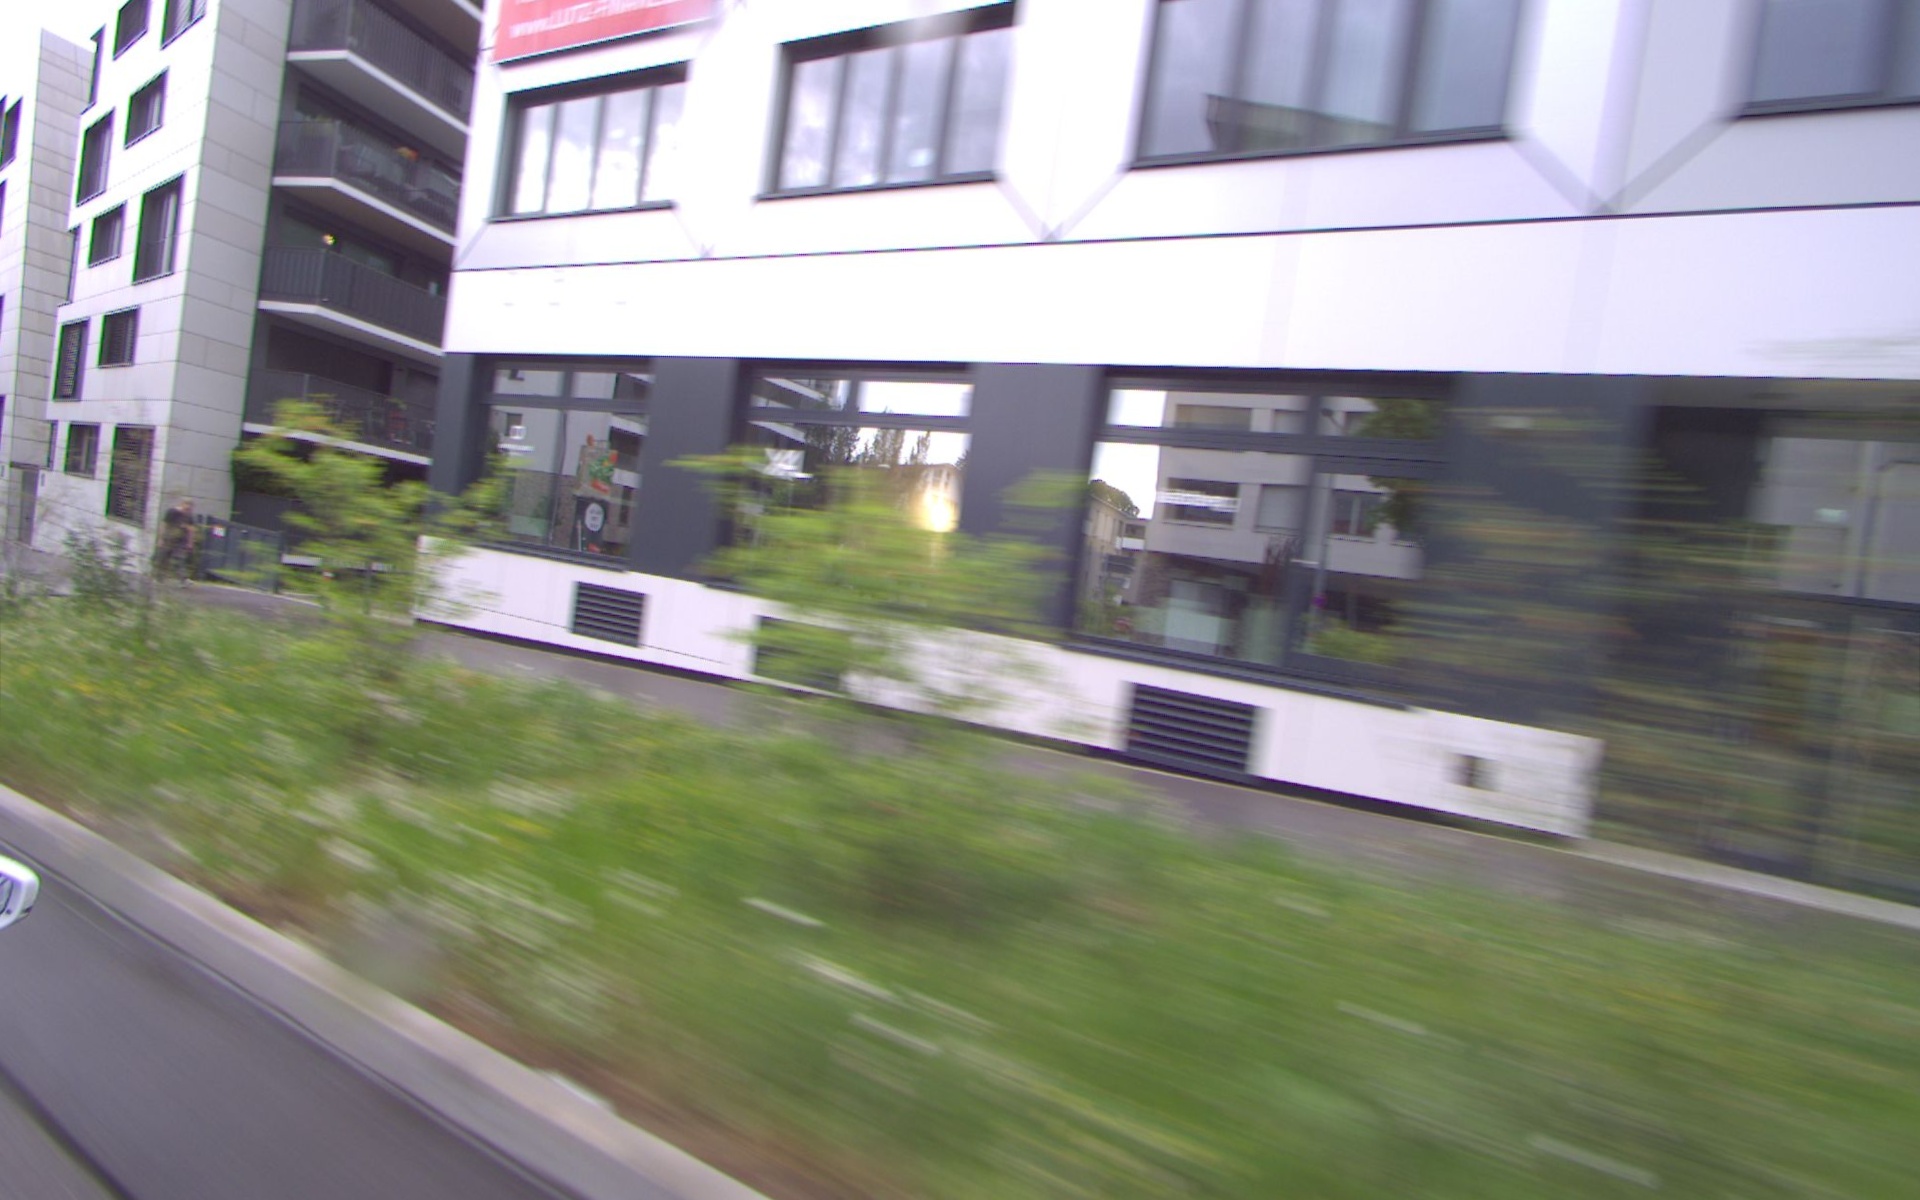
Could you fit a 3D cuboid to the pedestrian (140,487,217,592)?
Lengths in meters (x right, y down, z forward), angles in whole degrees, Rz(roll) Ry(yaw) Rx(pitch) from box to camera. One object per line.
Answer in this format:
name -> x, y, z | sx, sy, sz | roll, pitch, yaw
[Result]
pedestrian -> -14.588, -1.122, 18.777 | 0.766, 1.818, 0.823 | 6, 0, 34
